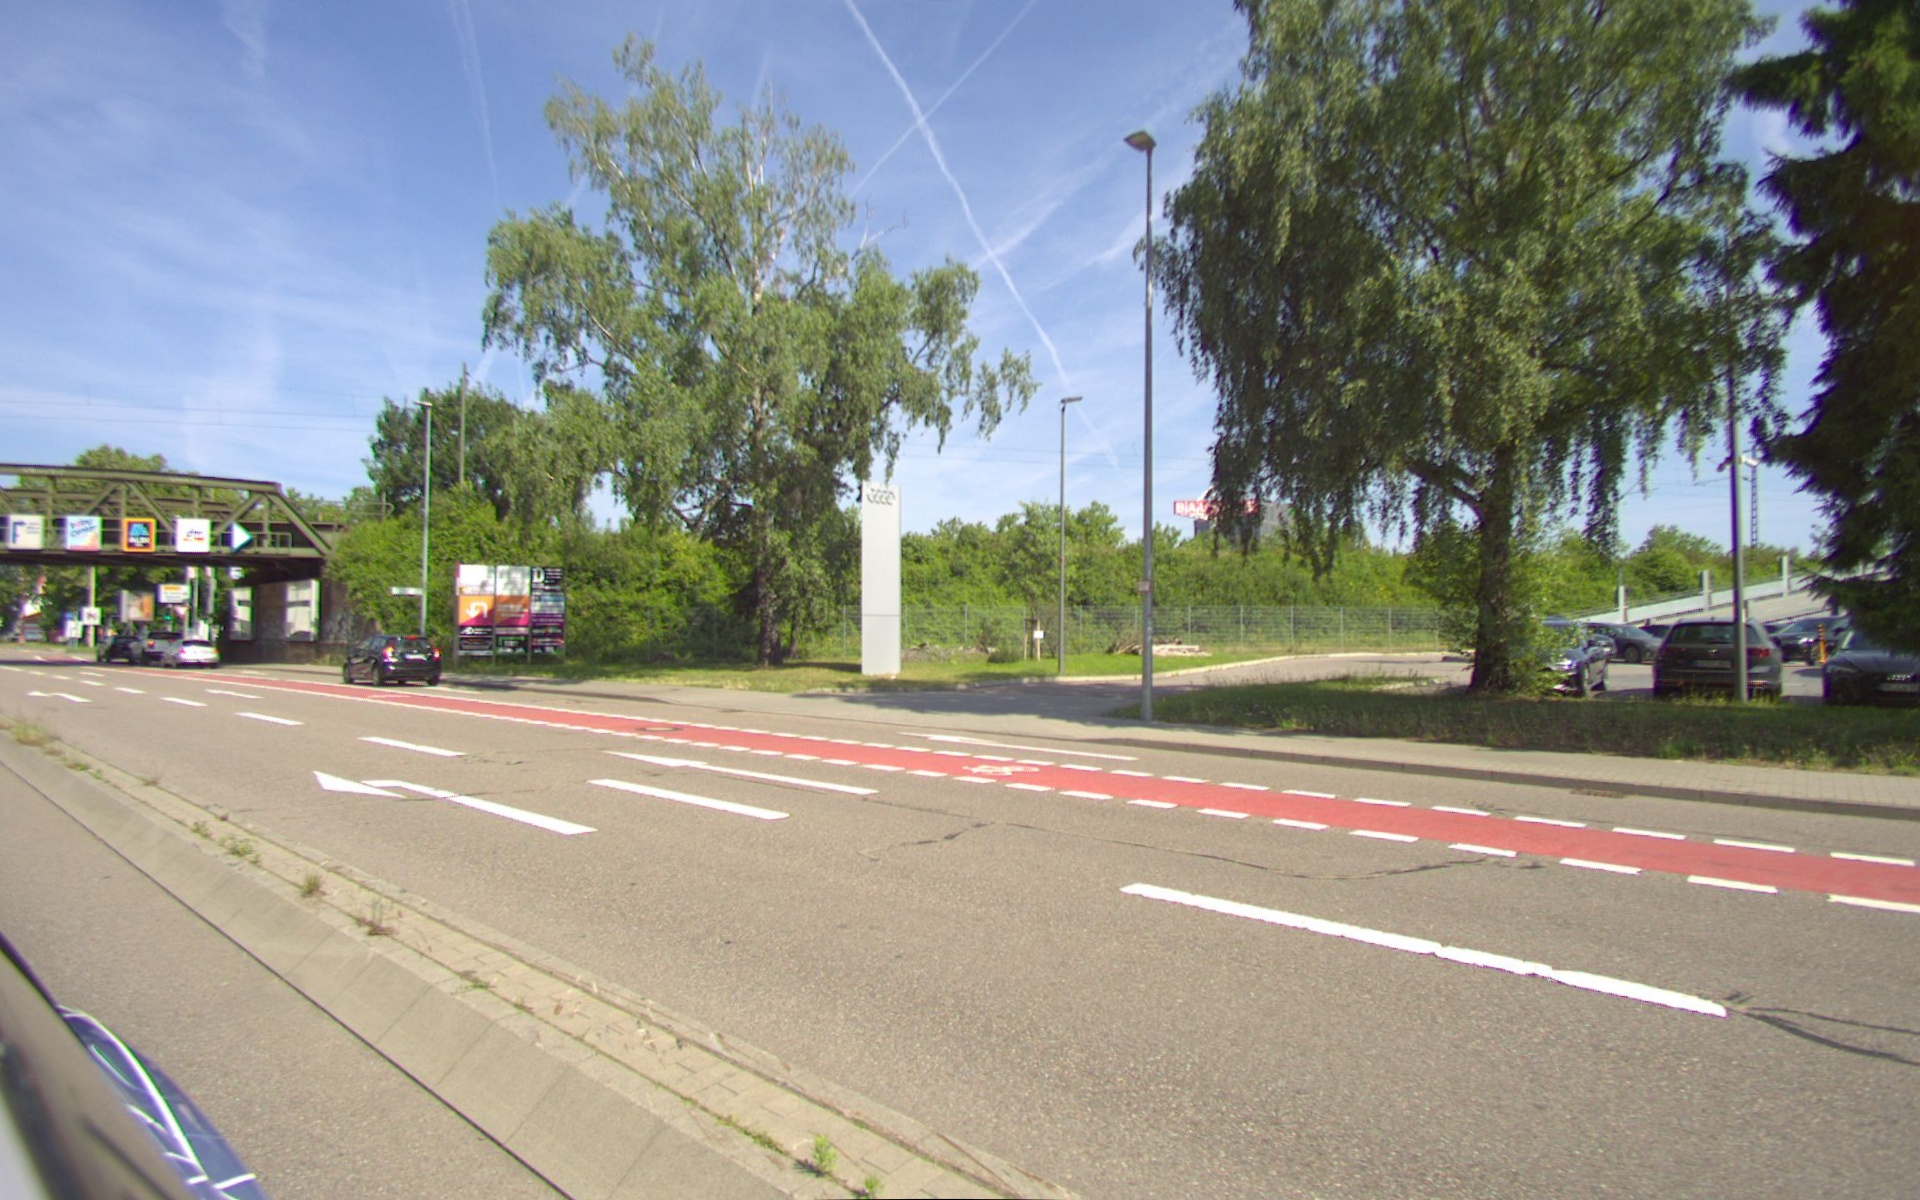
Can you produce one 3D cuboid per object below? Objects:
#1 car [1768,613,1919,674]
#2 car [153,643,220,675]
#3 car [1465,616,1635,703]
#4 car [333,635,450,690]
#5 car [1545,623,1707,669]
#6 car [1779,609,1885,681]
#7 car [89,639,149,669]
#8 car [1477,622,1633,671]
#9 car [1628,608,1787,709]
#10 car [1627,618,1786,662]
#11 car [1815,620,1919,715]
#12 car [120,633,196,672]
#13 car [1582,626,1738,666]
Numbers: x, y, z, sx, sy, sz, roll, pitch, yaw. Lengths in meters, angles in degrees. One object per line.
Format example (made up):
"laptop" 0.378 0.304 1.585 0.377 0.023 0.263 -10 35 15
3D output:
"car" 24.894 1.185 28.299 3.966 1.558 1.666 0 -1 -19
"car" -36.251 2.731 47.399 4.316 1.398 1.618 -2 -4 41
"car" 11.403 1.055 19.404 1.999 1.400 4.638 -2 -1 40
"car" -16.801 1.817 29.844 4.024 1.530 1.680 -2 -4 41
"car" 24.299 1.641 37.165 1.966 1.536 4.776 0 -1 -17
"car" 21.354 1.046 24.907 1.803 1.576 4.200 -2 -1 39
"car" -47.599 3.039 57.263 4.384 1.608 1.853 -2 -3 41
"car" 21.485 1.629 36.821 1.966 1.630 4.776 0 -1 -17
"car" 13.539 0.961 18.225 1.999 1.558 4.170 -2 -1 40
"car" 28.640 1.506 39.053 1.783 1.558 4.776 0 -1 -17
"car" 15.102 1.004 16.291 1.999 1.278 4.801 -2 -1 40
"car" -41.310 2.691 52.097 5.447 1.875 1.973 -2 -5 41
"car" 26.455 1.700 38.486 1.783 1.381 4.776 0 -1 -17
